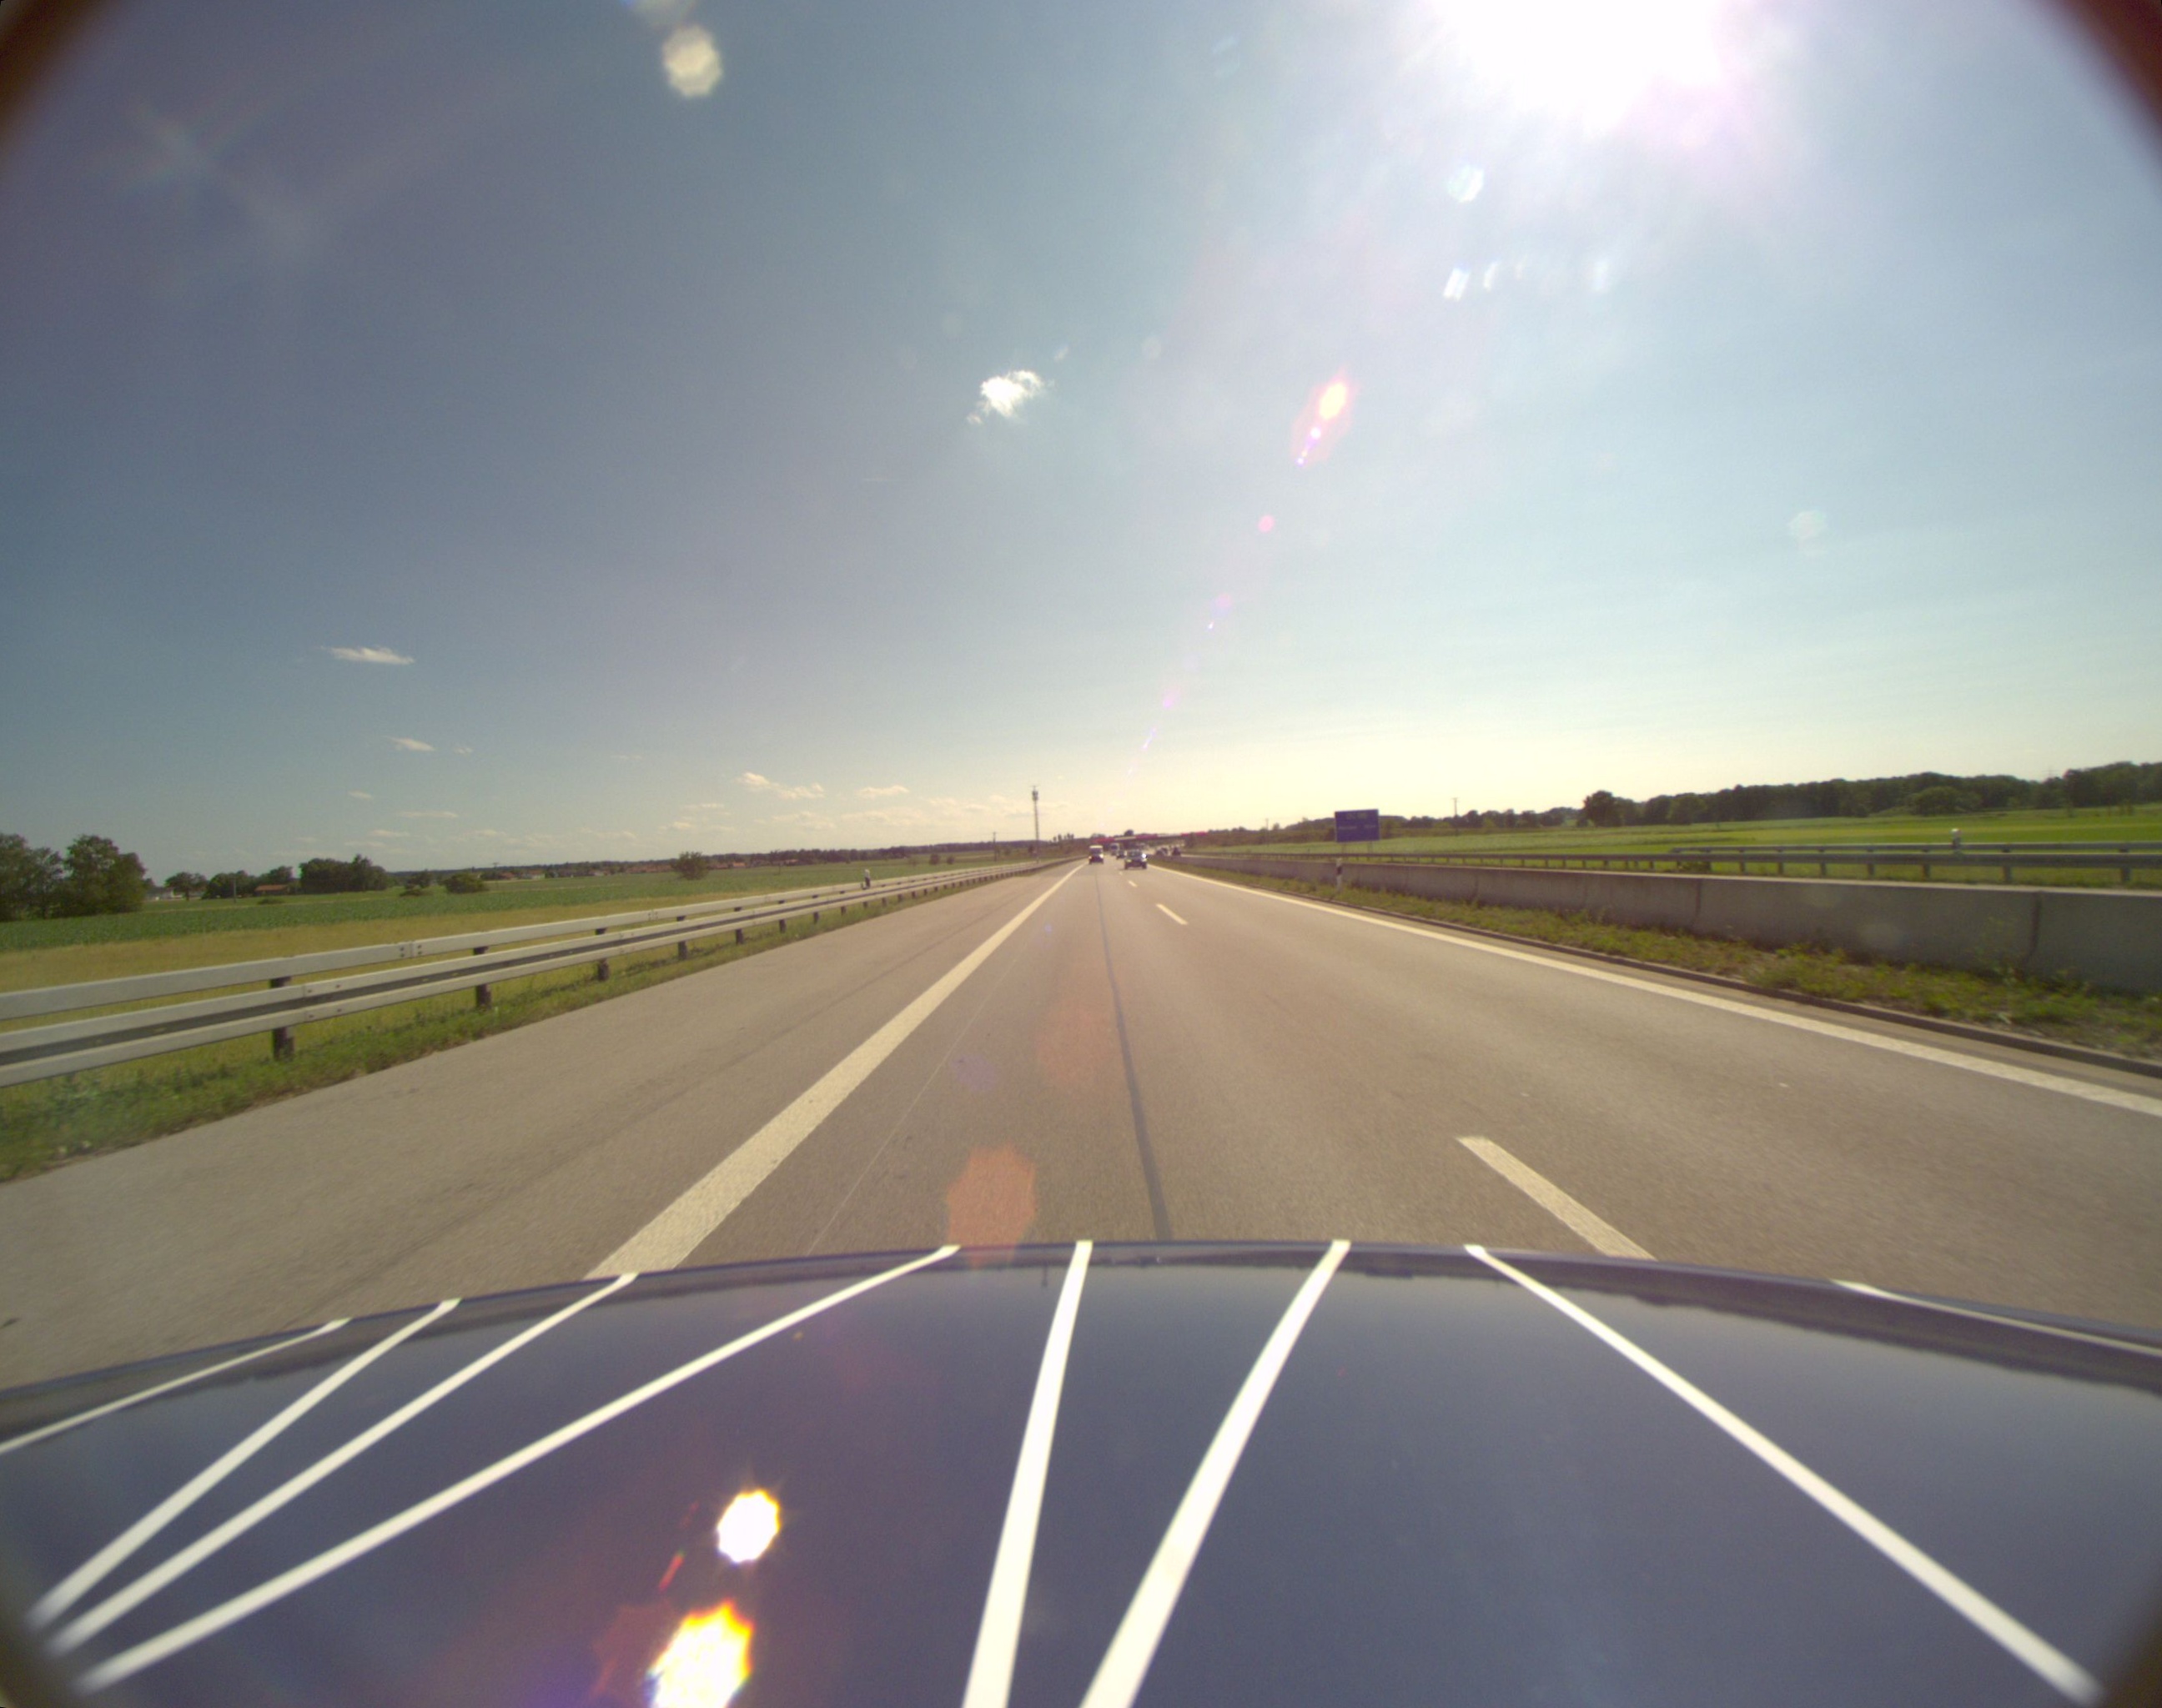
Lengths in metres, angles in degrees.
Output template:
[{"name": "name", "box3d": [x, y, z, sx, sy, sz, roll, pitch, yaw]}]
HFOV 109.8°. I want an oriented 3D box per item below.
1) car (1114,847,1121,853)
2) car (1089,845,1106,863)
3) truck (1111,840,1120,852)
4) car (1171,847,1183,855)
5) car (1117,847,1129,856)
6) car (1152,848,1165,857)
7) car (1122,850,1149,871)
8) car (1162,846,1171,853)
[{"name": "car", "box3d": [10.797, -1.082, 225.015, 2.030, 1.600, 4.818, -4, 0, 2]}, {"name": "car", "box3d": [2.151, -0.090, 100.298, 2.030, 2.225, 4.818, -2, 1, 3]}, {"name": "truck", "box3d": [11.936, -2.736, 265.065, 2.762, 3.793, 7.518, -3, 1, 4]}, {"name": "car", "box3d": [19.192, -0.570, 152.603, 1.902, 1.514, 4.806, -1, 0, 1]}, {"name": "car", "box3d": [7.892, -0.492, 142.421, 2.030, 1.600, 4.818, -4, 0, 1]}, {"name": "car", "box3d": [14.083, -0.264, 138.328, 1.902, 1.514, 4.806, -1, 0, 1]}, {"name": "car", "box3d": [4.678, 0.566, 66.062, 2.030, 1.600, 4.818, -3, 1, 2]}, {"name": "car", "box3d": [21.923, -1.200, 195.483, 1.958, 1.831, 5.450, -1, 0, 3]}]
